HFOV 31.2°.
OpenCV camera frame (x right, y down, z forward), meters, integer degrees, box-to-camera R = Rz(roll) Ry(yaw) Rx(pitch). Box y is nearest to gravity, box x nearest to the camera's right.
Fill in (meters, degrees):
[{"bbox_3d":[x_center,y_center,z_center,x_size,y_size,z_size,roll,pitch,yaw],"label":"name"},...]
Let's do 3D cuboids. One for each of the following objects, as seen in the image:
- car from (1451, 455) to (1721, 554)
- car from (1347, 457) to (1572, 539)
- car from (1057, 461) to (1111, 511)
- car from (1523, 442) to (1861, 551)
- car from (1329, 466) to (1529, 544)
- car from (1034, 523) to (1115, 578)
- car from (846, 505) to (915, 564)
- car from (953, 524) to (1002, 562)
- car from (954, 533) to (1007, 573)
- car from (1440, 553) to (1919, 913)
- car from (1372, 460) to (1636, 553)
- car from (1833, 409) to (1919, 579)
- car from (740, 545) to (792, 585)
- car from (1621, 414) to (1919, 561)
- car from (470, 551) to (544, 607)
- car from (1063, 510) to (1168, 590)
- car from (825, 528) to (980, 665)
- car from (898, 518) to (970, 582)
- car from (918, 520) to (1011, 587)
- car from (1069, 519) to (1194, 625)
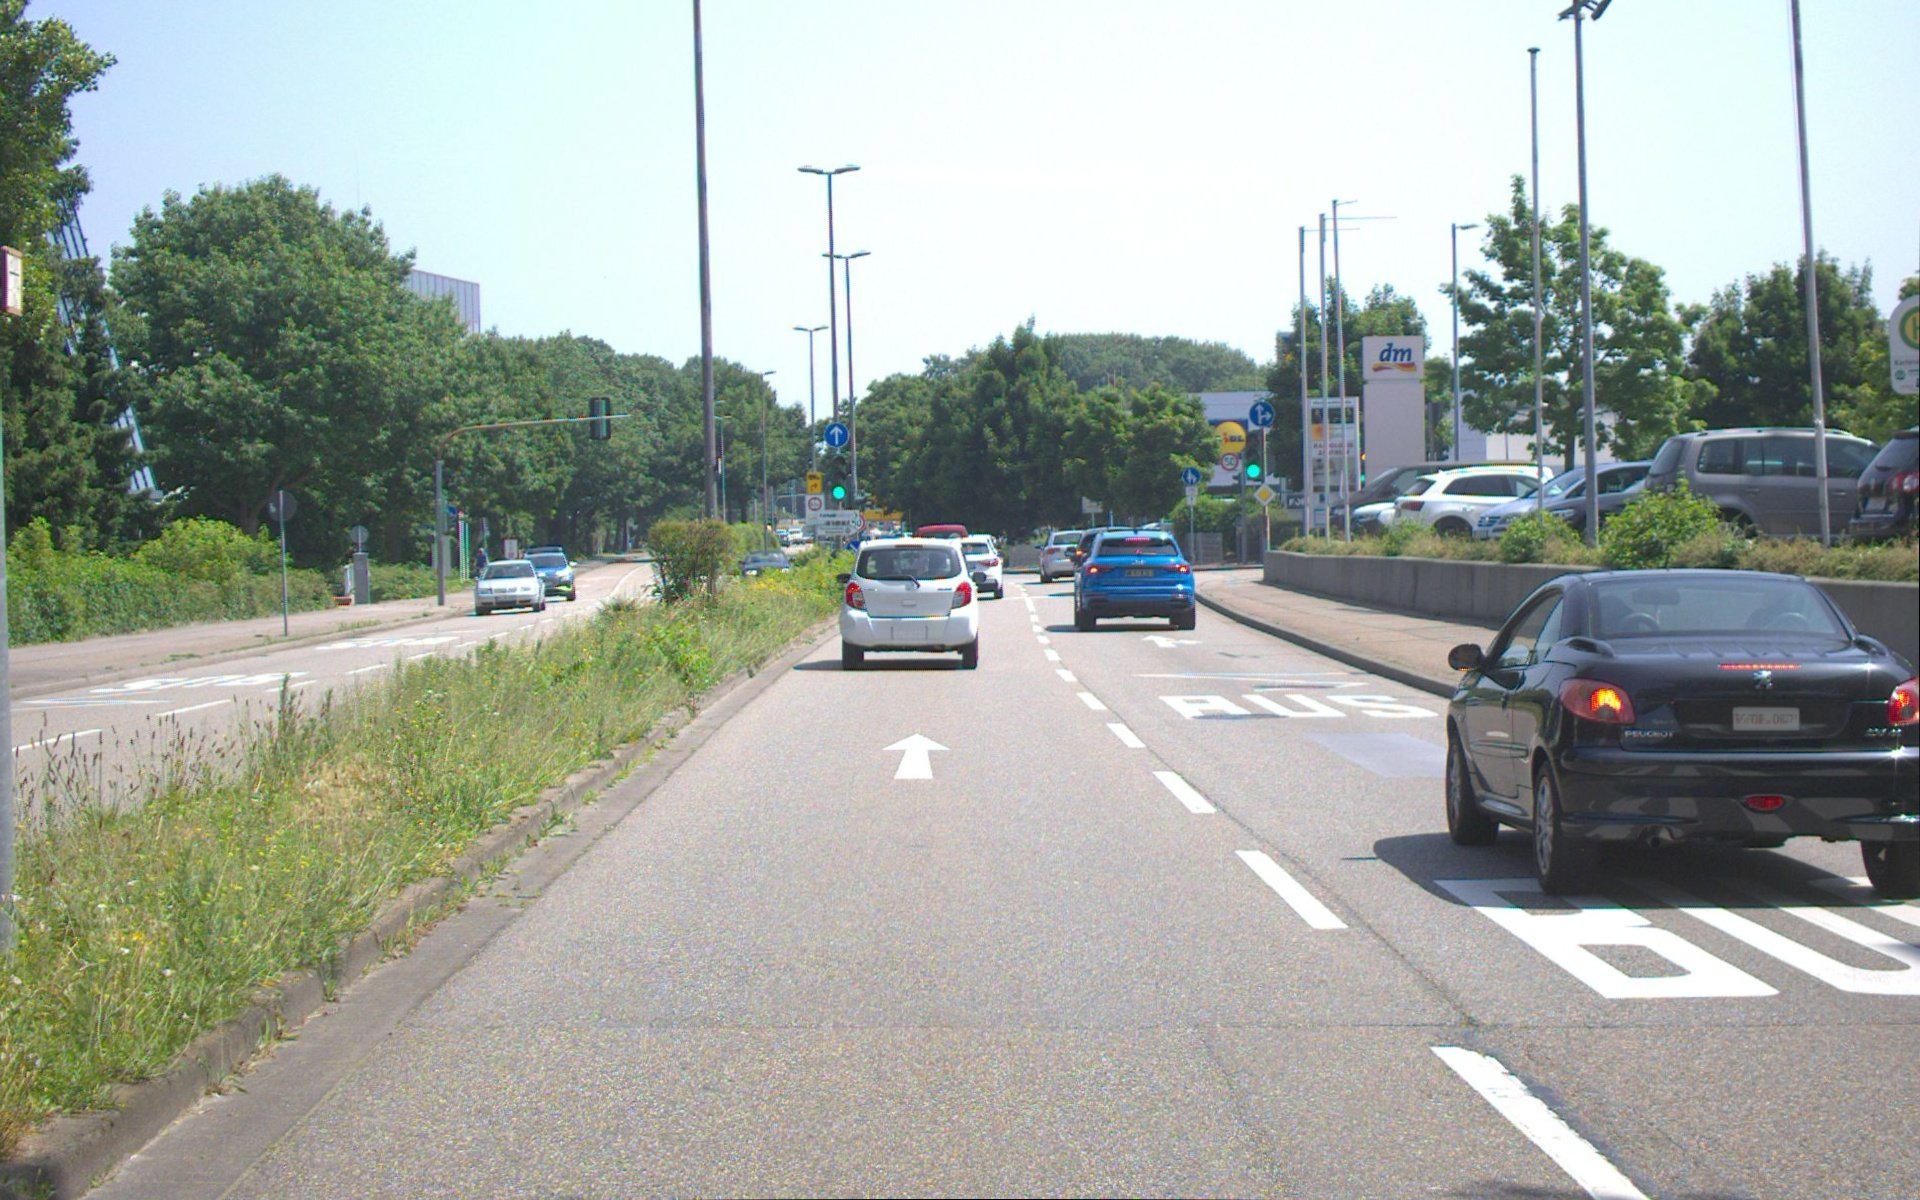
[{"bbox_3d":[10.150,-1.546,55.744,3.920,1.447,1.765,-3,1,-22],"label":"car"},{"bbox_3d":[10.507,-2.146,72.470,4.346,1.539,2.000,-2,1,-2],"label":"car"},{"bbox_3d":[5.172,-4.740,143.570,1.769,2.006,3.992,-2,2,-4],"label":"car"},{"bbox_3d":[10.426,-1.468,49.181,4.319,1.364,2.000,-2,1,-2],"label":"car"},{"bbox_3d":[10.227,-2.072,75.184,3.986,1.539,2.000,-2,1,-2],"label":"car"},{"bbox_3d":[3.160,-1.394,95.494,1.993,1.415,4.000,-2,1,-1],"label":"car"},{"bbox_3d":[-2.441,-2.008,104.294,1.819,1.656,4.001,-2,2,-5],"label":"car"},{"bbox_3d":[0.692,-2.292,137.397,1.791,1.472,3.847,-2,1,-1],"label":"car"},{"bbox_3d":[0.800,-1.902,137.919,1.993,1.503,4.000,-2,1,-1],"label":"car"},{"bbox_3d":[3.251,0.512,15.607,1.627,1.359,3.606,0,2,0],"label":"car"},{"bbox_3d":[10.074,-1.726,63.907,4.535,1.539,2.000,-2,1,-1],"label":"car"},{"bbox_3d":[10.988,-1.092,33.284,4.499,1.577,2.000,-2,1,-1],"label":"car"},{"bbox_3d":[-6.481,-1.183,114.604,1.573,1.264,3.731,-2,1,-6],"label":"car"},{"bbox_3d":[10.419,-1.380,42.013,4.226,1.641,2.000,-2,1,-1],"label":"car"},{"bbox_3d":[-12.227,-0.591,92.924,1.735,1.408,4.372,-2,1,-5],"label":"car"},{"bbox_3d":[3.358,-1.105,74.858,1.993,1.634,4.000,-2,1,-1],"label":"car"},{"bbox_3d":[-0.648,-0.079,41.329,1.748,1.515,3.746,0,2,1],"label":"car"},{"bbox_3d":[-0.762,-1.426,98.243,1.775,1.734,4.001,-2,1,-4],"label":"car"},{"bbox_3d":[0.076,-1.068,78.004,1.993,1.437,4.000,-2,1,-1],"label":"car"},{"bbox_3d":[2.731,-0.478,55.396,1.828,1.574,3.606,-1,2,1],"label":"car"}]
